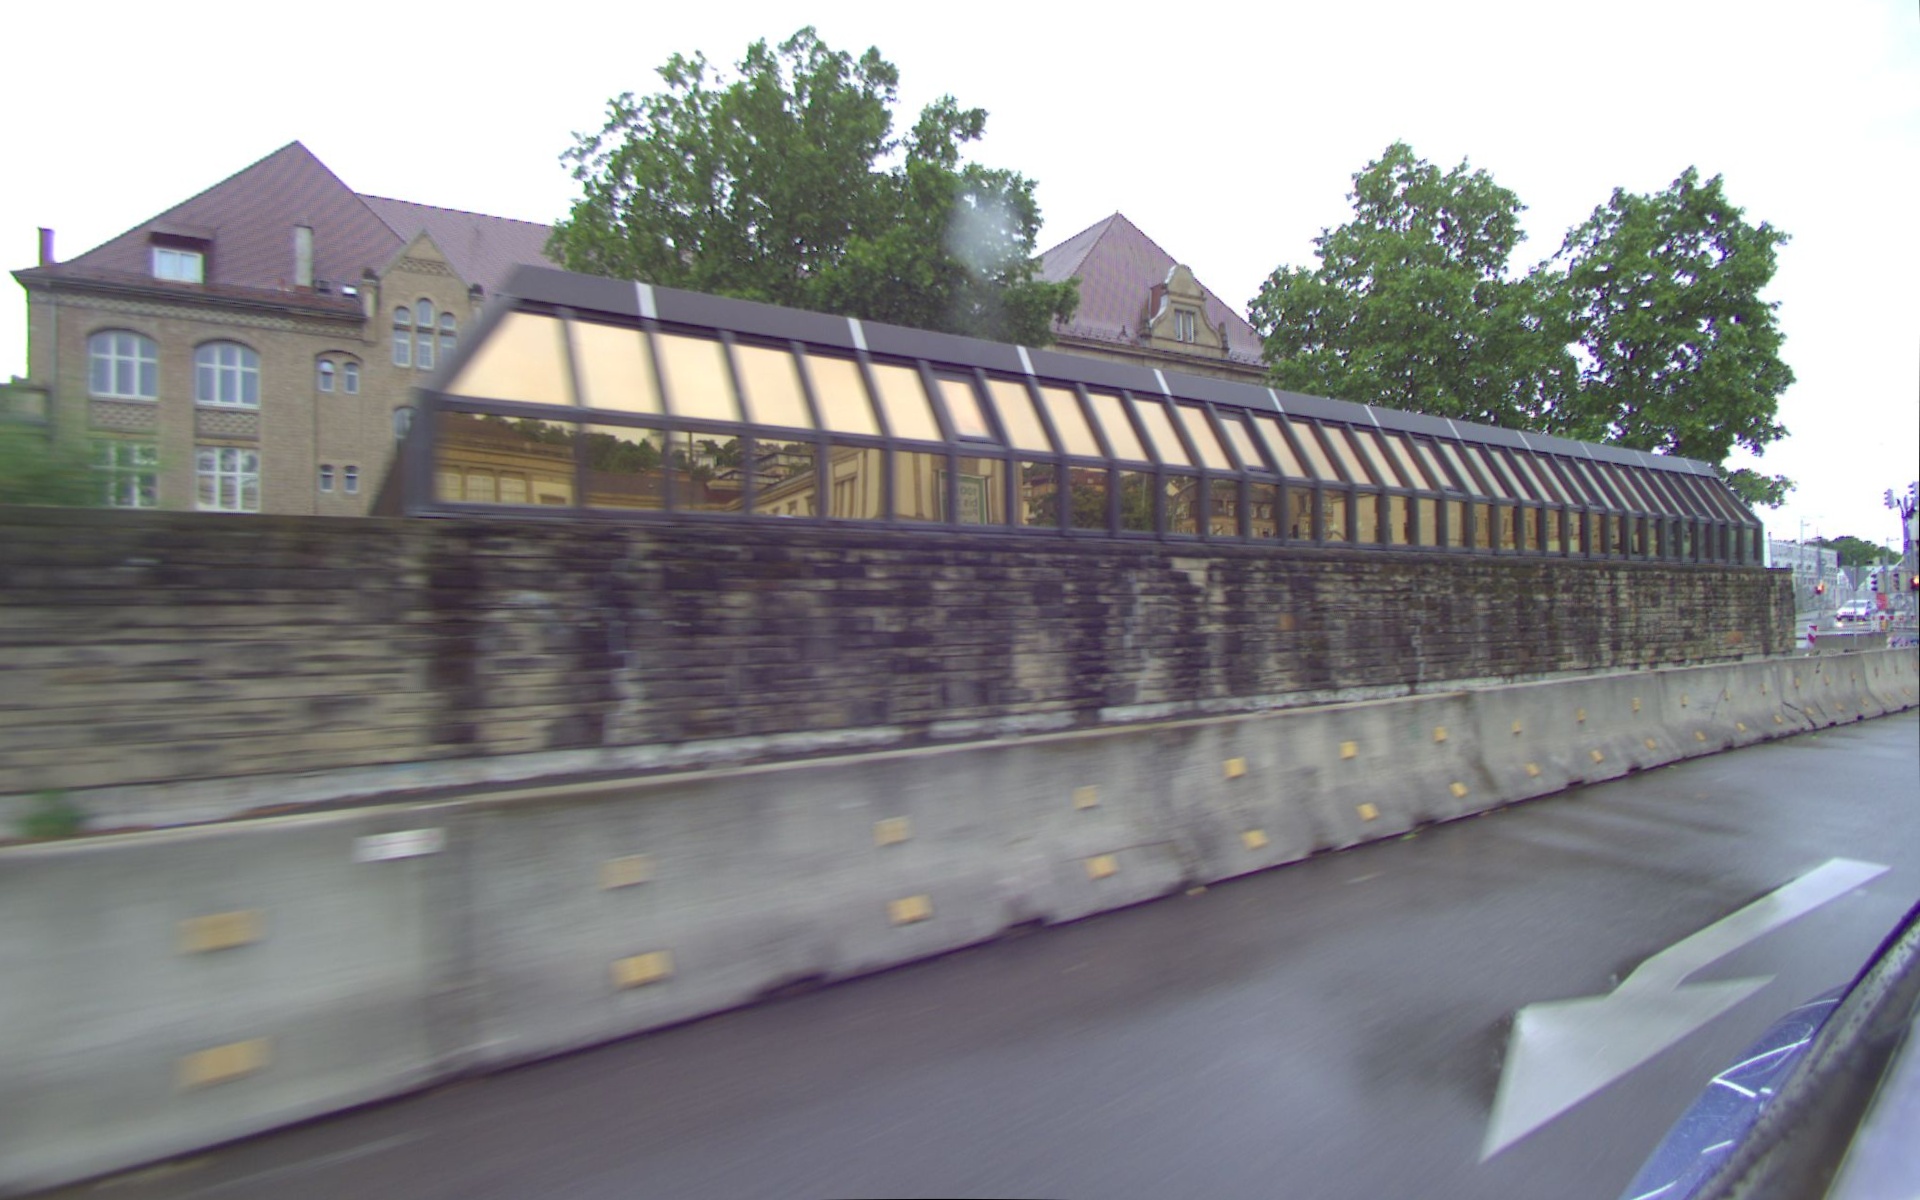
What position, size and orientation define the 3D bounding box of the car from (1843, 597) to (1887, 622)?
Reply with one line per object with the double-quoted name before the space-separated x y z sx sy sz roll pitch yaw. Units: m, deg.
"car" 69.923 0.702 78.190 4.282 1.795 1.995 0 -3 -42
